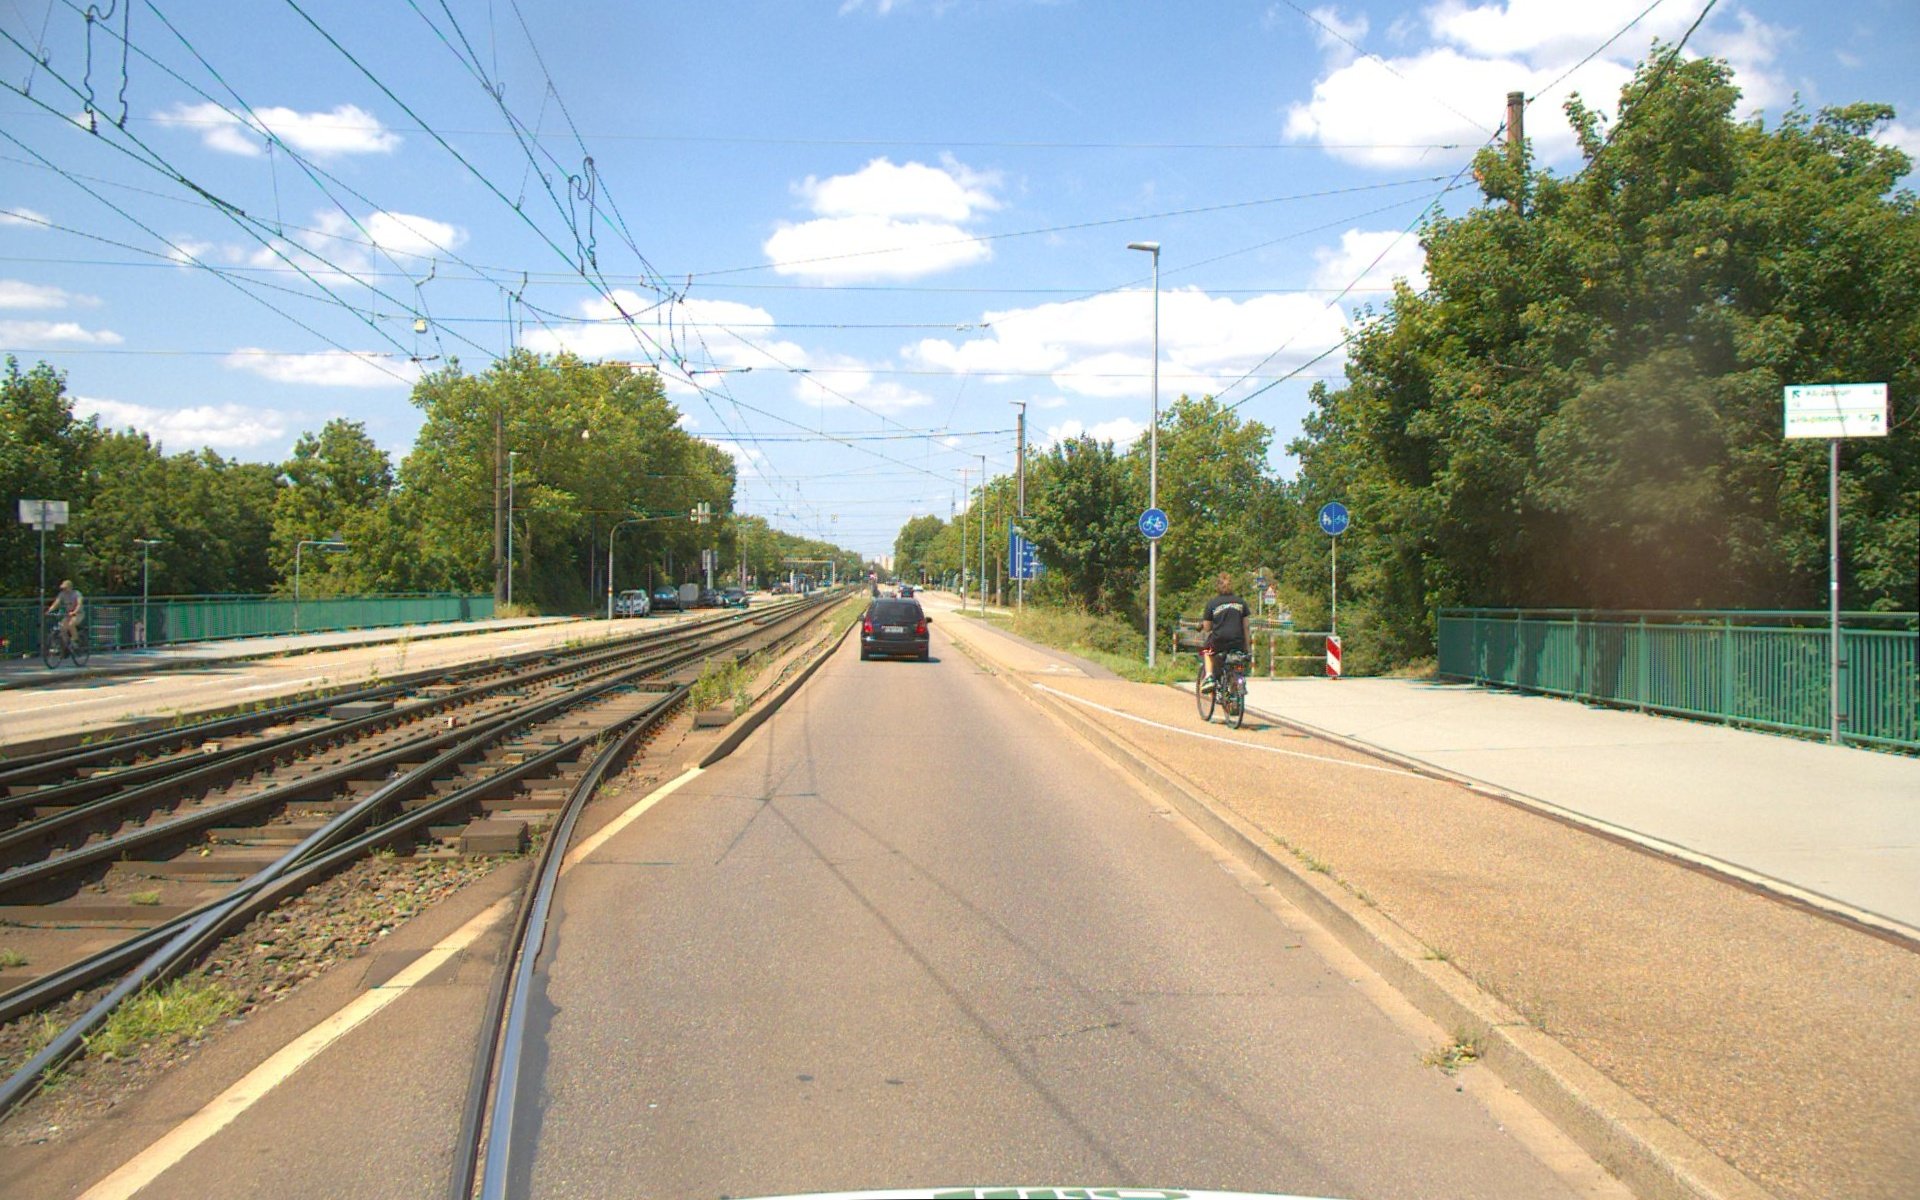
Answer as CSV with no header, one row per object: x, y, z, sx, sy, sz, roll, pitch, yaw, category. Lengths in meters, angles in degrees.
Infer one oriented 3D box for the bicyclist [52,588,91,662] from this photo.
-18.251,0.507,33.980,0.447,1.500,0.633,1,0,0,bicyclist

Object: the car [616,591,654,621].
-20.438,0.361,104.159,1.686,1.659,4.613,-2,2,-4,car

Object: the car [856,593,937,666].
-1.599,0.722,42.734,1.815,1.597,4.389,2,2,1,car

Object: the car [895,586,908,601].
-8.482,-0.923,239.233,1.751,2.048,3.999,2,1,-3,car

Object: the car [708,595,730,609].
-24.304,0.189,166.784,1.834,1.425,4.414,1,0,-5,car

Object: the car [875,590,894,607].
-8.076,-0.183,177.605,1.847,1.668,3.999,4,1,-2,car

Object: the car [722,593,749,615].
-18.590,0.302,137.178,1.838,1.750,5.327,1,0,-3,car

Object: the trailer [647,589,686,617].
-21.209,0.215,119.688,2.415,1.922,5.953,1,0,-7,trailer

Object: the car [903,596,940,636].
-2.162,0.903,93.900,1.953,2.048,4.001,2,1,0,car

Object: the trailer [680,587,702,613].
-22.758,-0.005,140.071,1.578,2.048,3.911,2,1,-6,trailer

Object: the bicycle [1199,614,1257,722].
3.231,0.792,20.054,0.423,1.172,1.855,2,1,2,bicycle

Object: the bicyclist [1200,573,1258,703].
3.247,0.451,19.967,0.573,1.521,0.558,2,1,2,bicyclist

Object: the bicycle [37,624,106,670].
-18.252,0.956,34.002,0.459,0.883,1.742,1,0,0,bicycle

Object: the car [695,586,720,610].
-23.628,-0.215,154.667,1.817,2.048,3.999,2,1,-2,car
